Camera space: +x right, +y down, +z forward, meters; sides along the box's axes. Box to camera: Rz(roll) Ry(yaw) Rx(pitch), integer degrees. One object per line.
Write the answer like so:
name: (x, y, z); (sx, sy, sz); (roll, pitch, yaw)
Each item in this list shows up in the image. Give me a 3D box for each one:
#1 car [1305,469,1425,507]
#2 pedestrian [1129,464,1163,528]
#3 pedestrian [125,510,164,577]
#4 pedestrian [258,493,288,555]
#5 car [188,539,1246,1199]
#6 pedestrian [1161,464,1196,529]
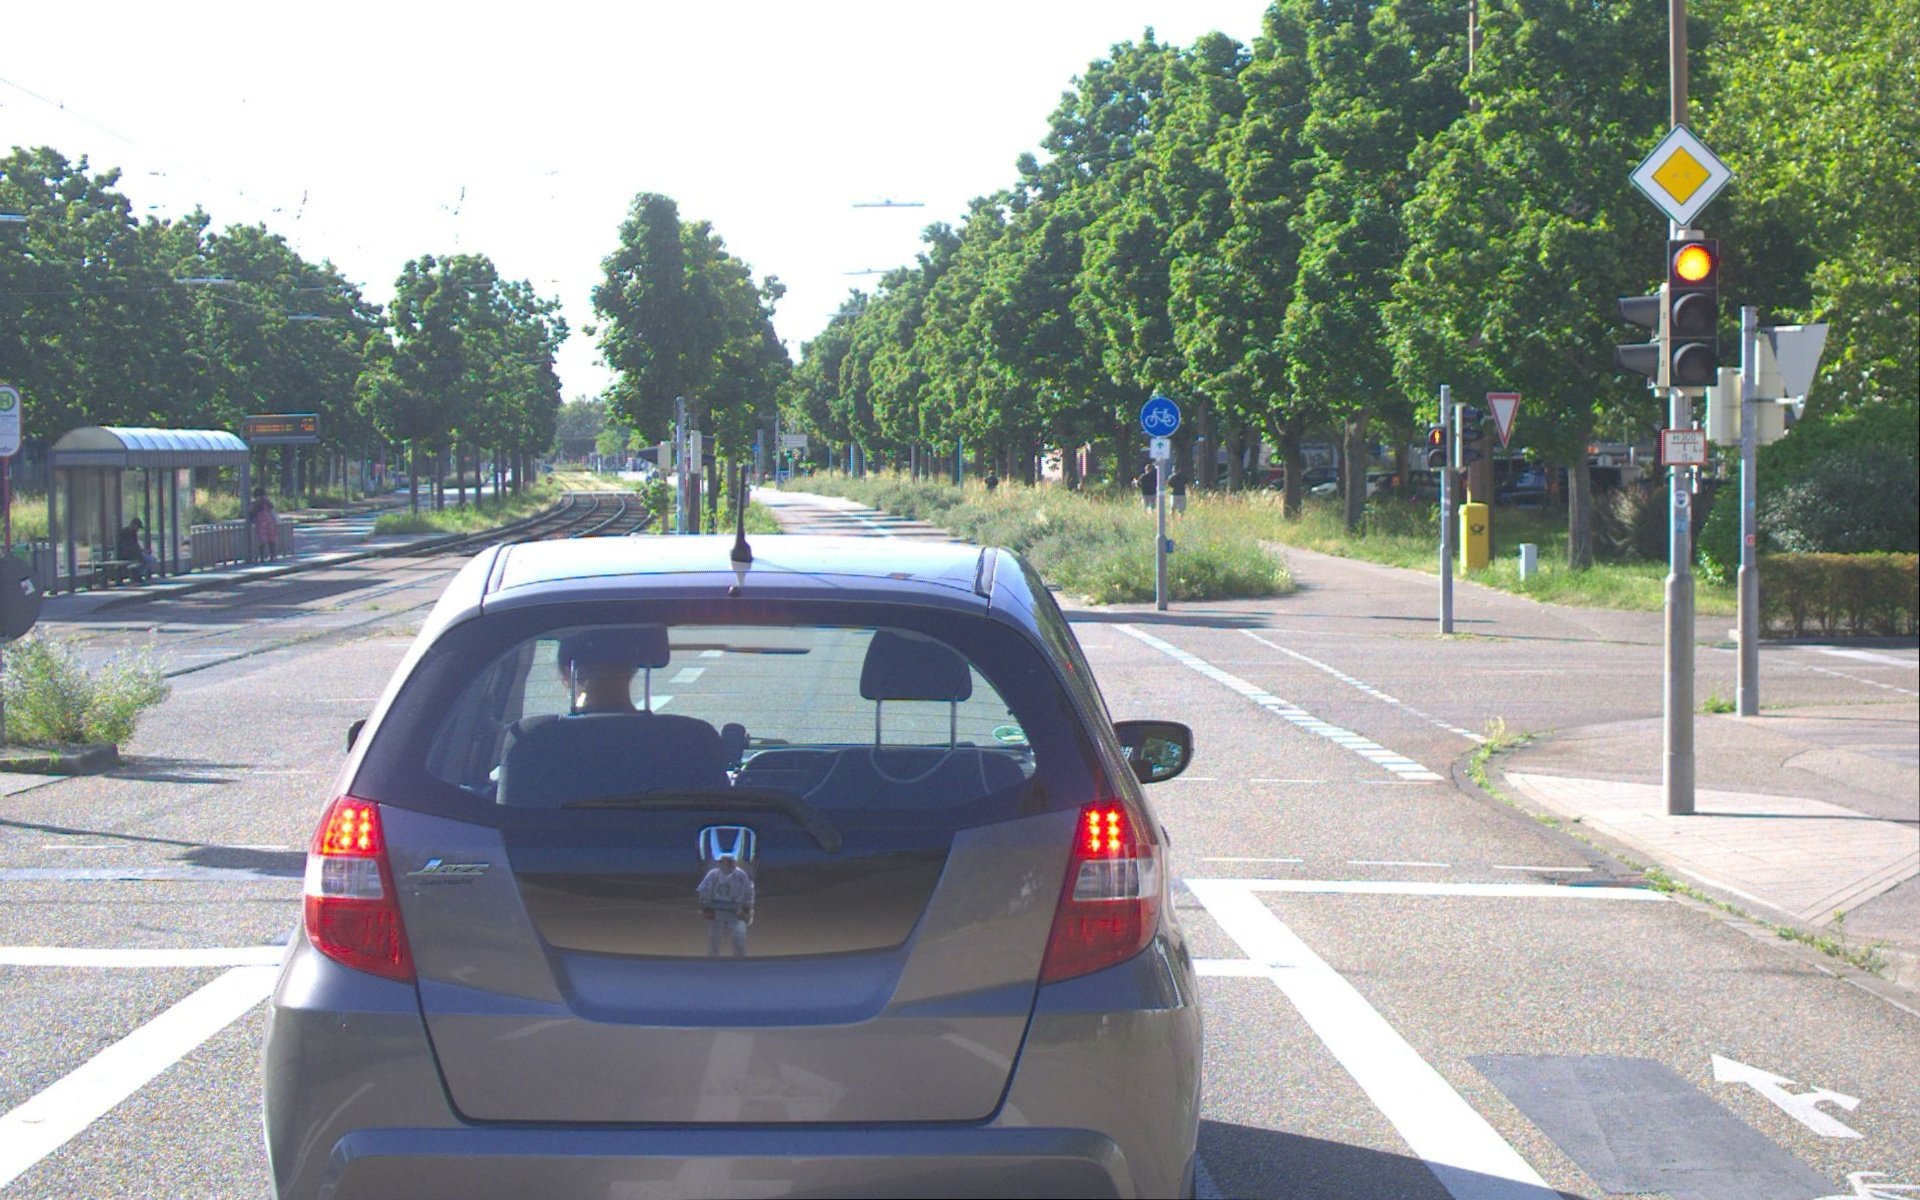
car: (17.013, -4.702, 144.528); (4.630, 1.550, 2.001); (-1, 2, -6)
pedestrian: (5.463, -3.055, 100.800); (0.882, 1.877, 0.875); (-1, 2, -4)
pedestrian: (-15.548, -1.081, 65.540); (0.563, 1.252, 0.581); (-3, 1, -1)
pedestrian: (-16.000, -1.774, 80.093); (0.544, 1.442, 0.559); (-1, 1, -1)
car: (-0.416, 0.636, 7.412); (1.701, 1.518, 3.710); (0, 1, -1)
pedestrian: (6.403, -3.042, 100.818); (0.882, 1.877, 0.875); (-1, 2, -4)
